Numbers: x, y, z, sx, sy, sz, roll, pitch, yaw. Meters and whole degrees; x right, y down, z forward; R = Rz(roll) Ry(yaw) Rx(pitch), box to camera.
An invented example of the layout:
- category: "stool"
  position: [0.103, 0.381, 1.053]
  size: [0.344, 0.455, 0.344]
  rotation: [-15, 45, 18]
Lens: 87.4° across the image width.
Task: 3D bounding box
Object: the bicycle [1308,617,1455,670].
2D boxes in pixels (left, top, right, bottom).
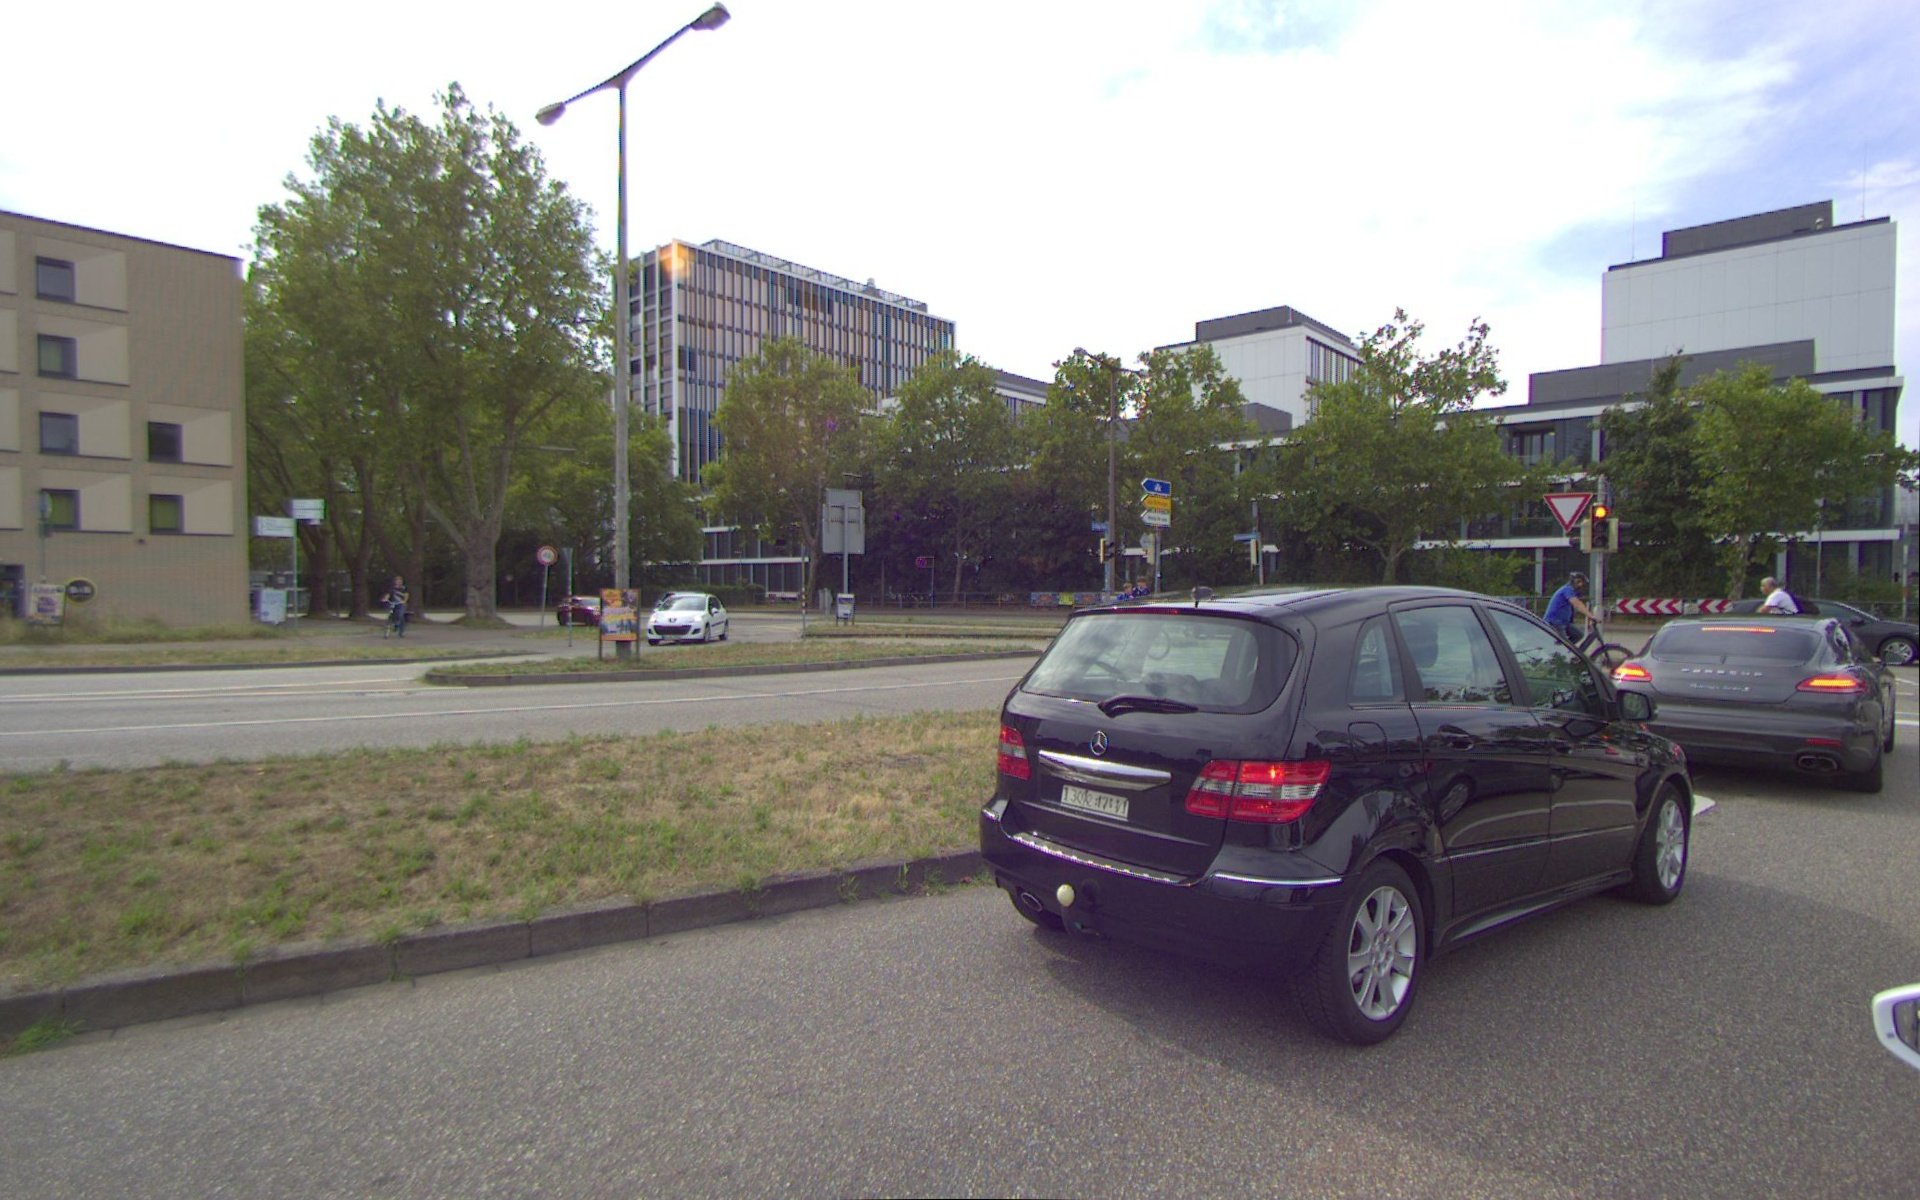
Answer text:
- category: "bicycle"
  position: [8.205, 0.823, 19.655]
  size: [2.553, 0.902, 0.701]
  rotation: [1, 1, 41]

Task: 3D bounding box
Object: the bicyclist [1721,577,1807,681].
- category: "bicyclist"
  position: [13.775, 0.474, 17.226]
  size: [1.098, 1.719, 0.809]
  rotation: [1, 1, 39]

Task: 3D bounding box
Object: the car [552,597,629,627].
- category: "car"
  position: [-18.387, 0.593, 49.859]
  size: [4.156, 1.399, 1.938]
  rotation: [1, 0, 43]

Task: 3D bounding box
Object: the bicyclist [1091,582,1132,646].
- category: "bicyclist"
  position: [3.737, 0.340, 24.754]
  size: [0.826, 1.550, 0.627]
  rotation: [1, 1, 29]

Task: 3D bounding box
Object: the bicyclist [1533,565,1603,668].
- category: "bicyclist"
  position: [10.297, 0.265, 17.012]
  size: [0.871, 1.678, 0.807]
  rotation: [1, 1, 42]

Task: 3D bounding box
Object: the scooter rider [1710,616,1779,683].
- category: "scooter rider"
  position: [14.513, 0.897, 18.589]
  size: [0.803, 1.152, 0.904]
  rotation: [-1, 1, -45]

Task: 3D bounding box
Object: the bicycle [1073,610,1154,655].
- category: "bicycle"
  position: [3.769, 0.779, 24.736]
  size: [1.873, 1.027, 0.627]
  rotation: [1, 1, 30]

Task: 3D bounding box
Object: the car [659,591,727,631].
- category: "car"
  position: [-11.345, 0.443, 42.480]
  size: [1.924, 1.581, 4.433]
  rotation: [1, 0, -27]

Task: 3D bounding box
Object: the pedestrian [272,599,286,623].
- category: "pedestrian"
  position: [-32.671, 0.516, 48.195]
  size: [0.457, 1.140, 0.499]
  rotation: [1, 1, 44]

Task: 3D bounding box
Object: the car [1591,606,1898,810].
- category: "car"
  position: [7.723, 0.808, 9.687]
  size: [1.800, 1.433, 4.746]
  rotation: [2, 1, 44]

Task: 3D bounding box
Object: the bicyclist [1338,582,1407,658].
- category: "bicyclist"
  position: [8.108, 0.381, 19.753]
  size: [1.101, 1.456, 0.644]
  rotation: [1, 1, 41]

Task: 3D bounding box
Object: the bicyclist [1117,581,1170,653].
- category: "bicyclist"
  position: [4.088, 0.354, 22.346]
  size: [1.001, 1.560, 0.627]
  rotation: [1, 1, 31]

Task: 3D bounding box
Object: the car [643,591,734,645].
- category: "car"
  position: [-8.074, 0.516, 30.161]
  size: [1.697, 1.464, 3.876]
  rotation: [1, 0, -1]

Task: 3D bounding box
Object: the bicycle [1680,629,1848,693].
- category: "bicycle"
  position: [13.751, 1.017, 17.248]
  size: [2.201, 0.965, 0.808]
  rotation: [1, 0, 40]

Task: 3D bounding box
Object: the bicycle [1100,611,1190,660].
- category: "bicycle"
  position: [4.109, 0.769, 22.349]
  size: [1.874, 1.027, 0.627]
  rotation: [1, 1, 31]

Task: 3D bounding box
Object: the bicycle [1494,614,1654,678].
- category: "bicycle"
  position: [10.333, 0.747, 16.965]
  size: [2.203, 0.965, 0.807]
  rotation: [1, 0, 42]

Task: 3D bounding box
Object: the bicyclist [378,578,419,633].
- category: "bicyclist"
  position: [-16.964, 0.161, 30.354]
  size: [0.727, 1.636, 0.920]
  rotation: [1, 0, -2]

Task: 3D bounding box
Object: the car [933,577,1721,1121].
- category: "car"
  position: [1.986, 0.708, 4.877]
  size: [4.000, 1.596, 1.743]
  rotation: [-1, 2, -38]

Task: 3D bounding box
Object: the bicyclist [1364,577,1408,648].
- category: "bicyclist"
  position: [9.740, 0.275, 22.956]
  size: [0.770, 1.602, 0.652]
  rotation: [1, 1, 39]

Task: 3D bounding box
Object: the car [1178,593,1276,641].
- category: "car"
  position: [8.598, 0.519, 32.358]
  size: [2.678, 1.441, 1.492]
  rotation: [1, 1, 40]

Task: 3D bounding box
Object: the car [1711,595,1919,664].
- category: "car"
  position: [20.245, 0.644, 23.605]
  size: [4.012, 1.470, 1.693]
  rotation: [1, 0, 42]

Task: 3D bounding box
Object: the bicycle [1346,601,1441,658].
- category: "bicycle"
  position: [9.852, 0.649, 22.885]
  size: [1.878, 1.226, 0.640]
  rotation: [1, 1, 39]

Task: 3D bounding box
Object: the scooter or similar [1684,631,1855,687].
- category: "scooter or similar"
  position: [14.747, 1.050, 18.351]
  size: [0.803, 0.861, 2.355]
  rotation: [0, 1, -44]

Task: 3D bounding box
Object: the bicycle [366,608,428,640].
- category: "bicycle"
  position: [-16.970, 0.712, 30.317]
  size: [0.727, 0.921, 2.119]
  rotation: [1, 0, -2]
